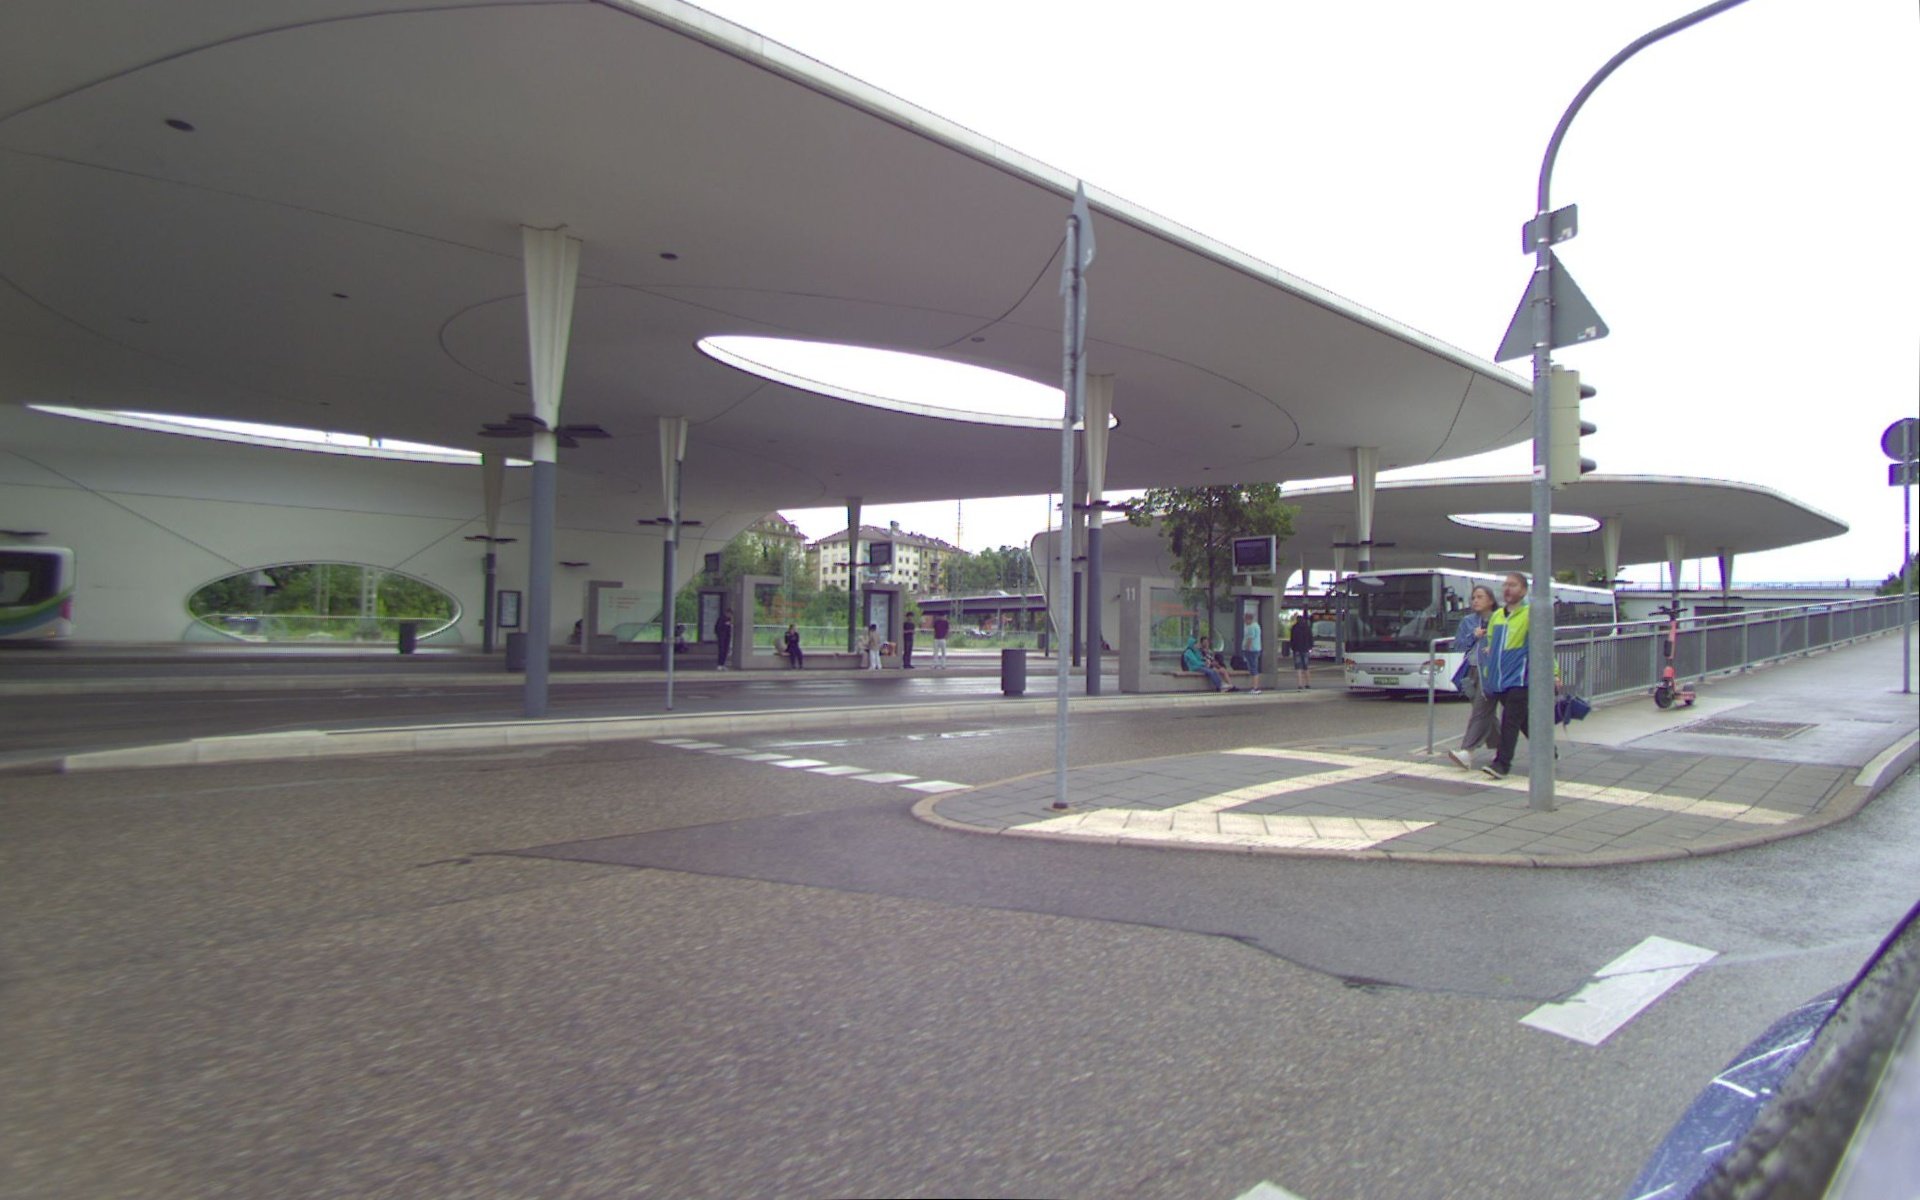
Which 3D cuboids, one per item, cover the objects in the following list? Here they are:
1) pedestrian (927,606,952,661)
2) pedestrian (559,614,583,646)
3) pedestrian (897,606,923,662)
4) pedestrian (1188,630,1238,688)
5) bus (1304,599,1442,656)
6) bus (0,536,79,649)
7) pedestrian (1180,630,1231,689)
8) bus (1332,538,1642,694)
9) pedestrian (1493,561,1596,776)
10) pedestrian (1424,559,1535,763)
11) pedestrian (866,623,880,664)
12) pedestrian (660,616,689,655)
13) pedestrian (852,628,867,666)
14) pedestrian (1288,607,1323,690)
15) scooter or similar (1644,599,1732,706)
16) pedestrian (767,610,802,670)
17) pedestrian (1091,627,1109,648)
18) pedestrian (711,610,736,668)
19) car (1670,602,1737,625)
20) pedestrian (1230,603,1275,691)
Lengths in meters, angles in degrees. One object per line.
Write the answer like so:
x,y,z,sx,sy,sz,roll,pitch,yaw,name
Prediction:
-0.631,1.046,31.520,0.633,1.675,0.637,1,-1,11,pedestrian
-17.107,1.329,44.527,0.786,1.342,0.711,-2,-2,-36,pedestrian
-1.535,1.022,30.911,0.546,1.675,0.571,2,-1,-34,pedestrian
5.958,1.370,23.816,0.944,1.271,0.642,4,-1,27,pedestrian
26.150,1.677,63.628,11.924,3.299,2.794,1,-1,-40,bus
-31.953,-0.325,27.625,11.756,3.298,2.471,1,0,-40,bus
5.624,1.350,23.210,0.944,1.271,0.642,4,-1,27,pedestrian
14.545,0.674,27.142,12.202,3.407,2.849,3,-5,-40,bus
4.824,0.535,8.355,0.570,1.691,0.523,-1,0,-40,pedestrian
4.548,0.514,8.862,0.570,1.691,0.590,-3,-1,-40,pedestrian
-2.513,1.258,29.245,0.357,1.159,0.395,1,-1,2,pedestrian
-10.143,1.270,35.967,0.786,1.342,0.711,-2,-2,-32,pedestrian
-2.901,1.355,29.291,0.345,1.095,0.392,1,-1,2,pedestrian
8.289,1.146,24.320,0.640,1.928,0.583,4,-1,15,pedestrian
9.052,0.614,12.555,1.826,1.236,0.464,1,-1,-40,scooter or similar
-4.873,1.114,28.092,0.666,1.610,0.588,-2,-2,-44,pedestrian
9.194,2.470,66.546,0.698,1.342,0.801,-2,-2,-34,pedestrian
-6.306,1.037,26.982,0.513,1.521,0.380,1,-1,11,pedestrian
69.337,1.259,94.477,2.079,1.993,4.674,1,-3,-42,car
6.585,1.057,22.780,0.636,1.910,0.587,4,-1,-30,pedestrian
